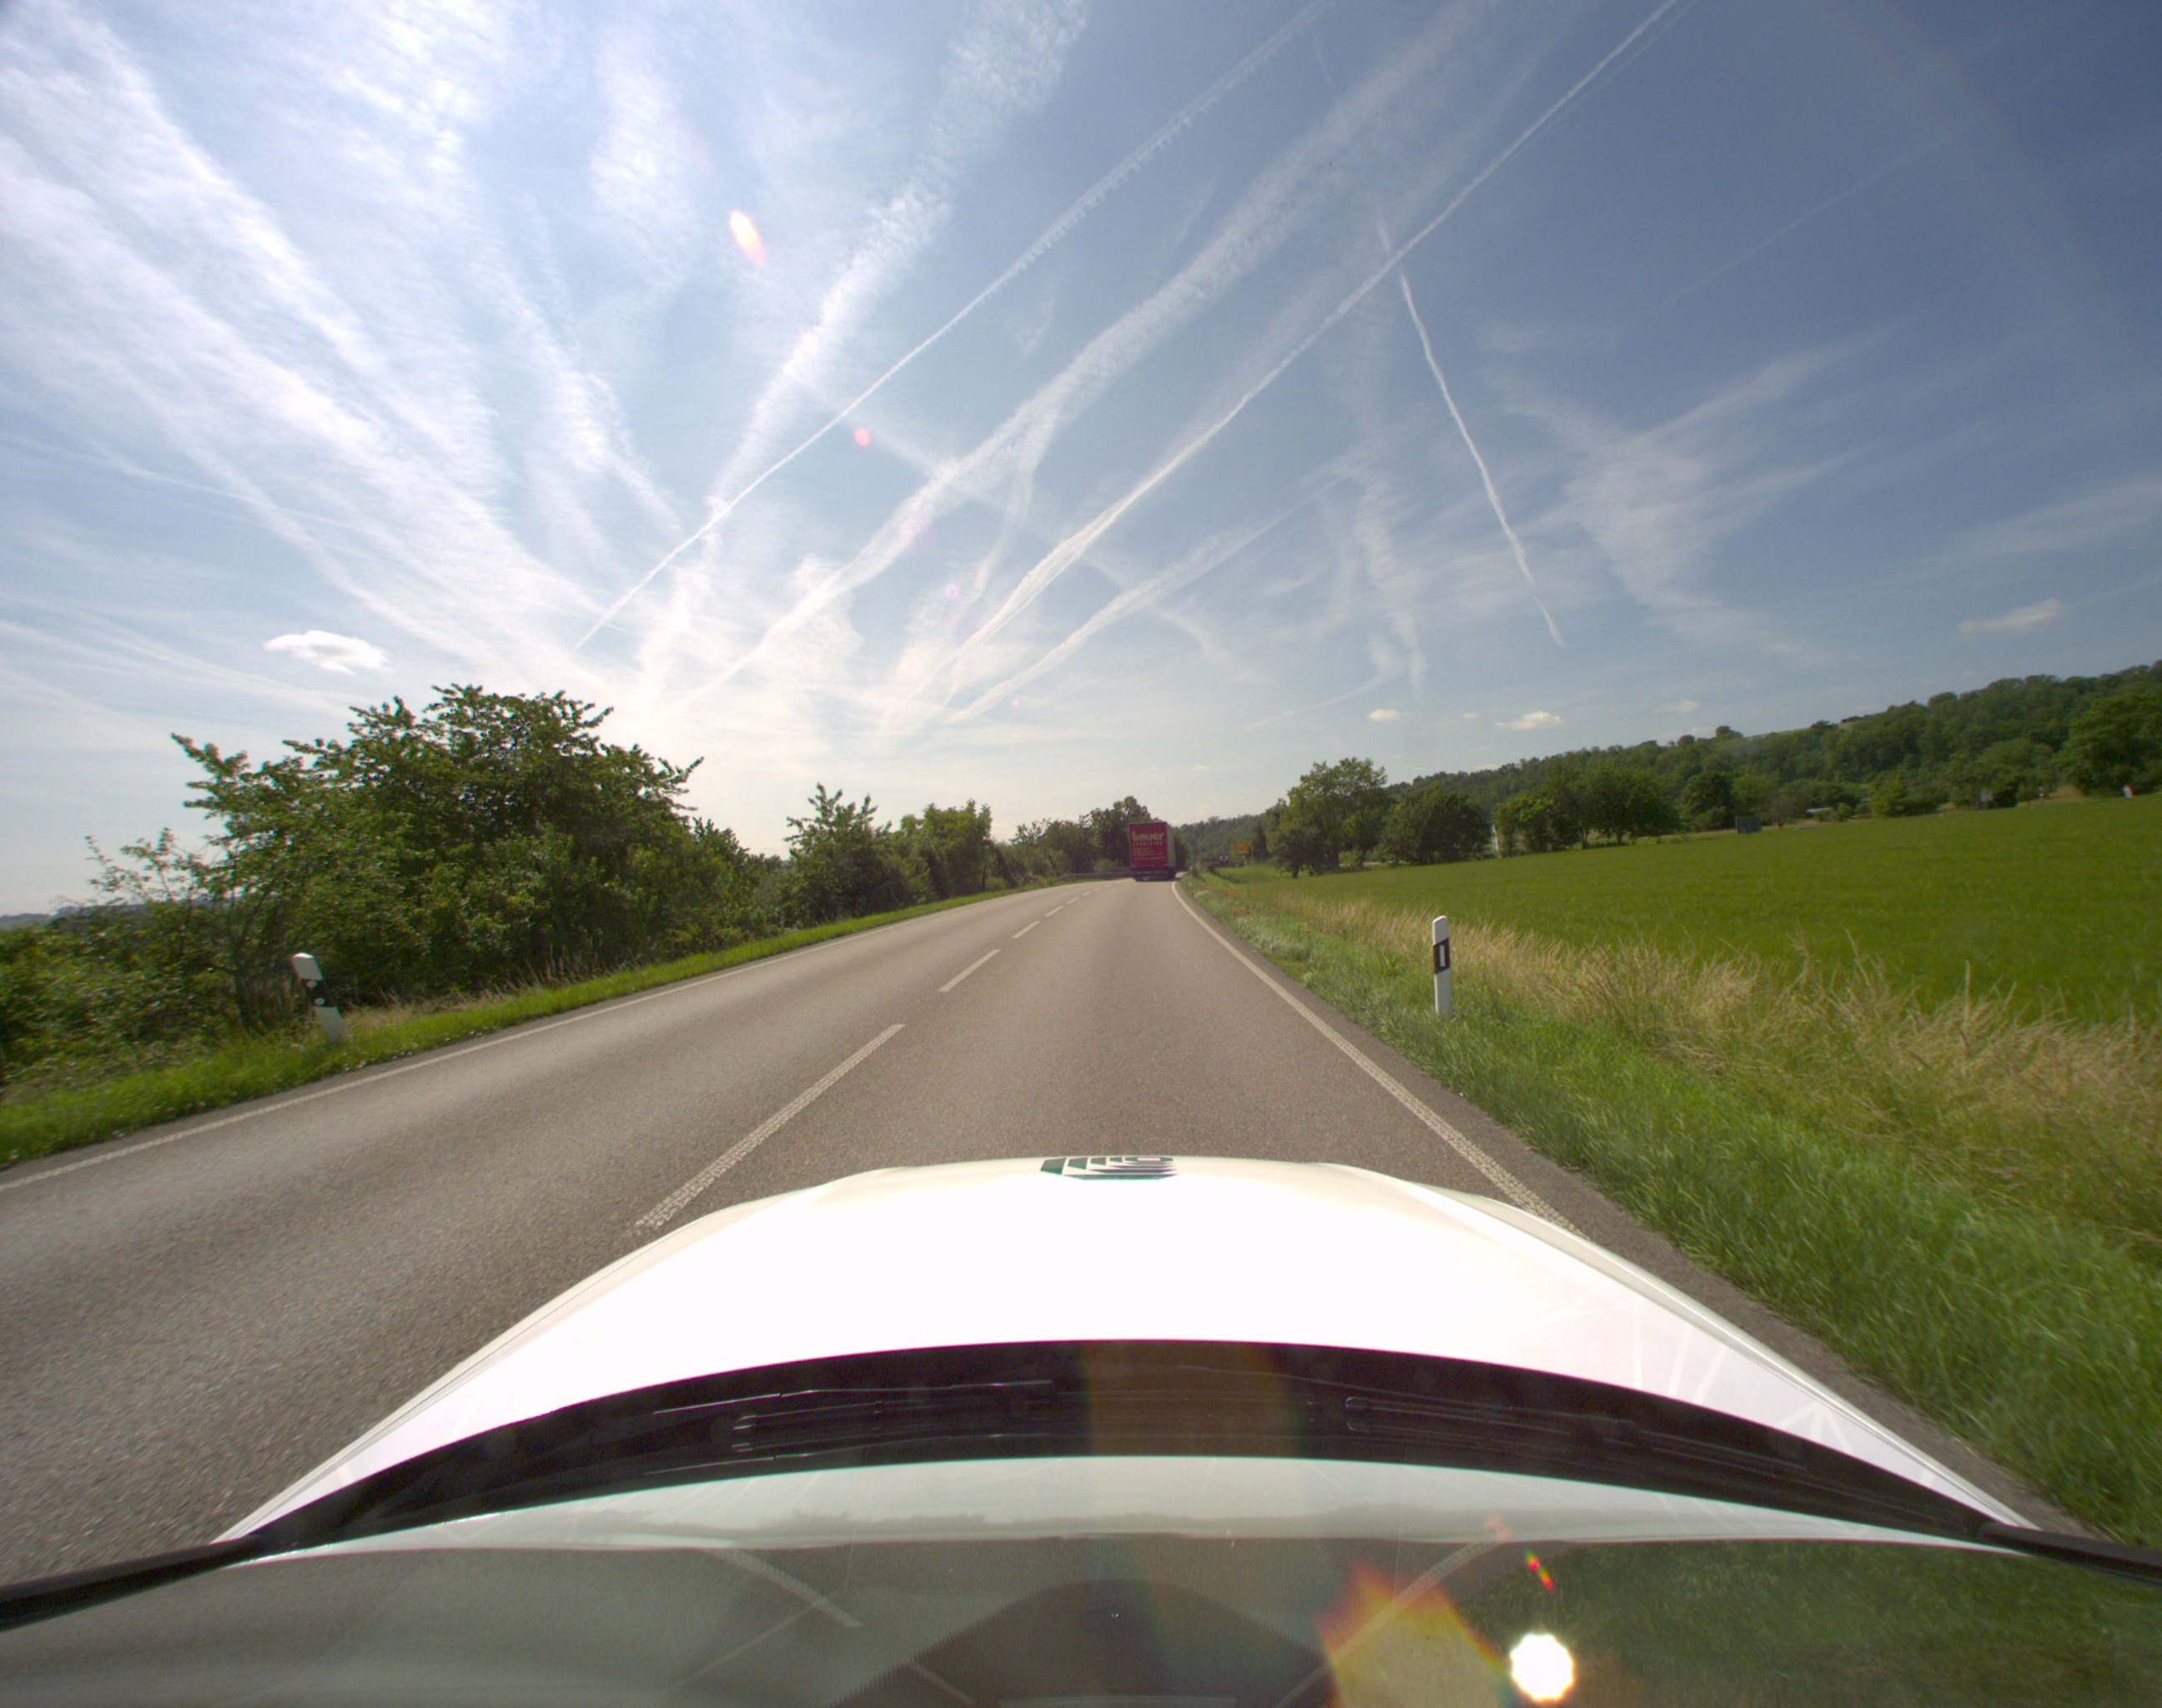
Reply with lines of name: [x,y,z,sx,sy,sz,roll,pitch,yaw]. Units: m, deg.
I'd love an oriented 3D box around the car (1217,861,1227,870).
car: [30.108,2.438,173.926,1.980,1.810,4.012,-1,-3,11]

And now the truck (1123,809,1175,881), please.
truck: [5.248,-0.554,60.496,3.155,4.625,13.569,-2,0,7]

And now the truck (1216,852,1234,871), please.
truck: [35.926,1.973,202.887,3.879,4.370,13.334,-1,-3,12]
